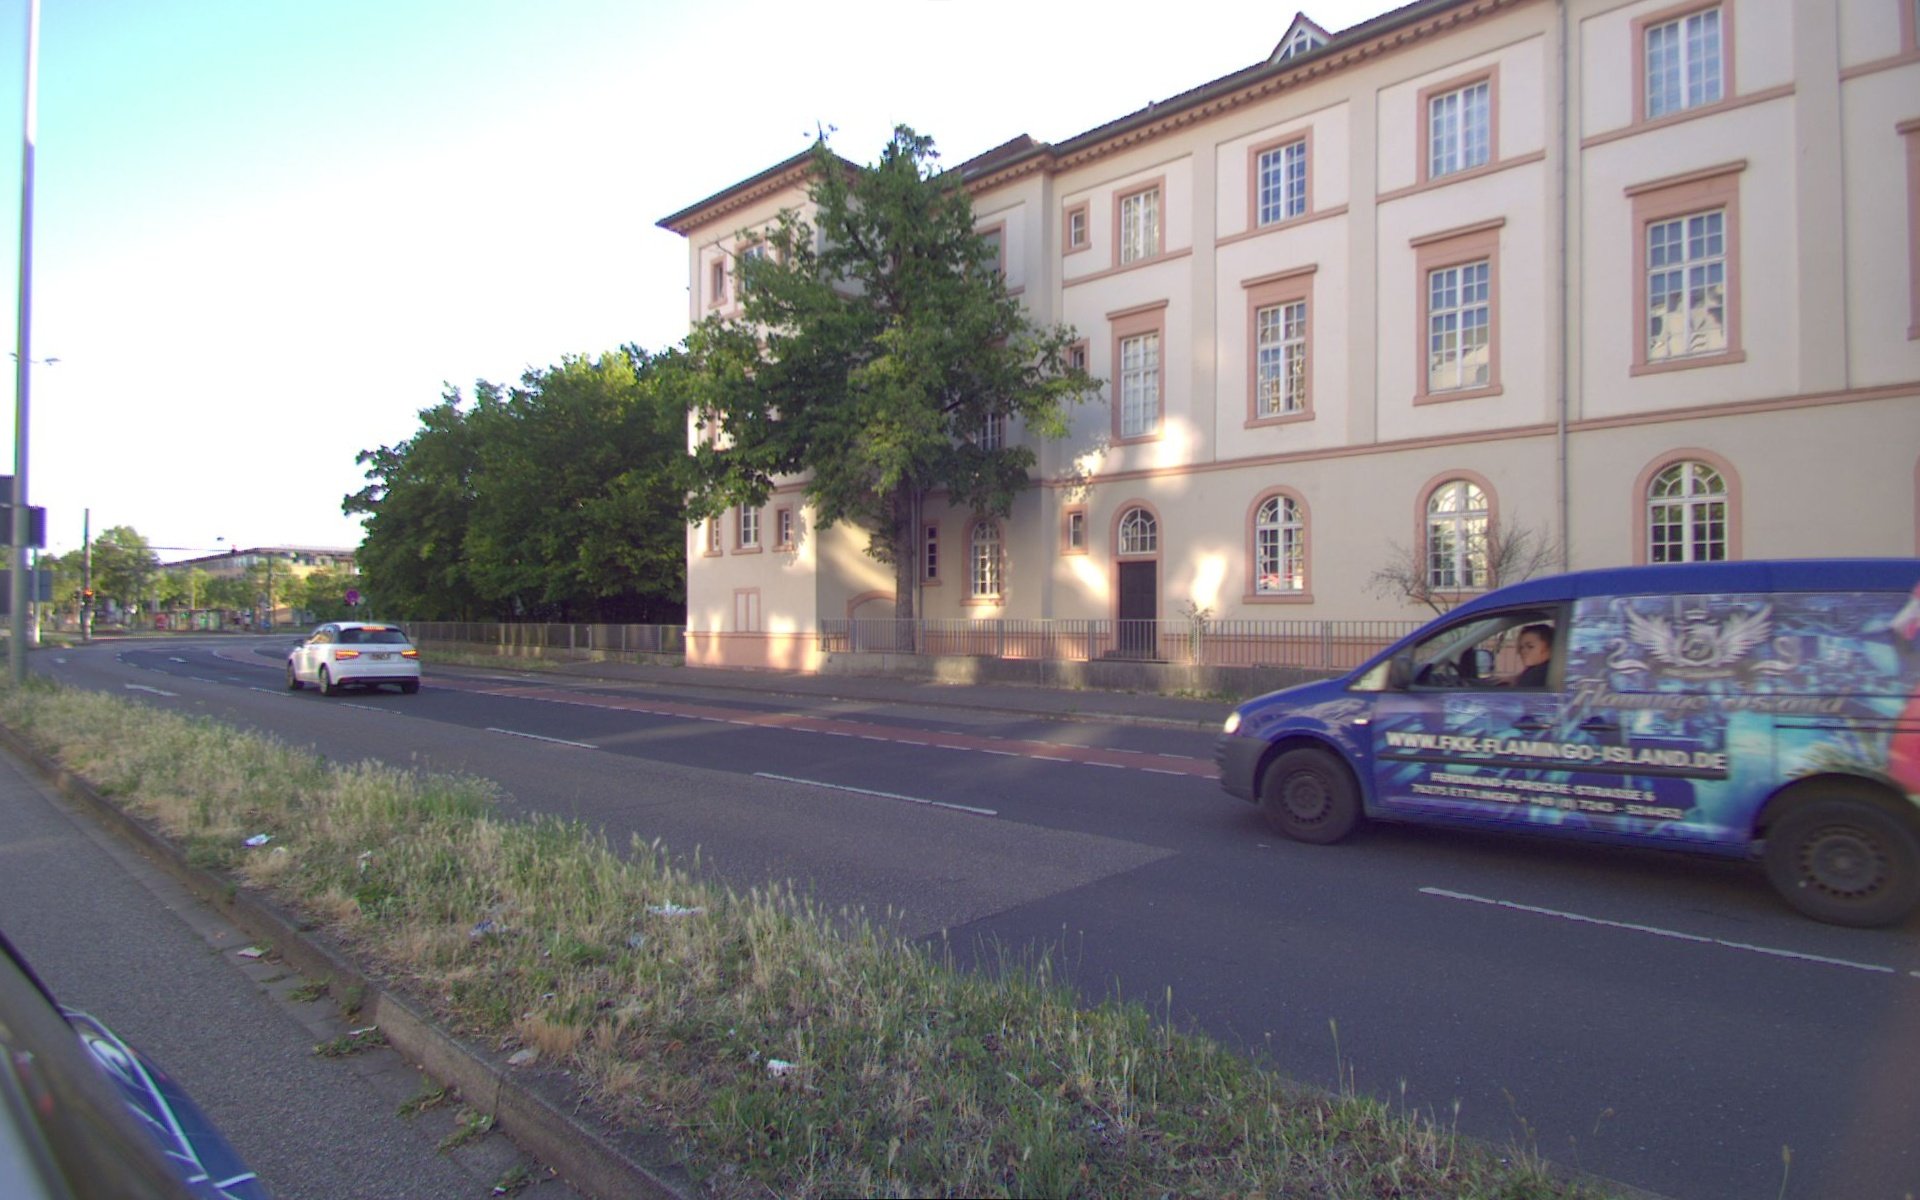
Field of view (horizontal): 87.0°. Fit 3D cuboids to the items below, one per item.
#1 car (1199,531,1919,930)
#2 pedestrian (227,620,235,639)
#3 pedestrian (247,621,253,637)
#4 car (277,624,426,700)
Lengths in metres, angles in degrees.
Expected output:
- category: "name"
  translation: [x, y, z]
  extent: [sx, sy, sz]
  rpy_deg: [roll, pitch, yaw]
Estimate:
- category: "car"
  translation: [3.895, 0.638, 6.379]
  extent: [4.226, 1.831, 1.973]
  rpy_deg: [-1, -2, 40]
- category: "pedestrian"
  translation: [-78.179, 3.153, 108.561]
  extent: [0.664, 2.029, 0.549]
  rpy_deg: [-1, -2, 41]
- category: "pedestrian"
  translation: [-76.668, 3.156, 109.290]
  extent: [0.419, 1.718, 0.461]
  rpy_deg: [-1, -2, 41]
- category: "car"
  translation: [-12.453, 1.204, 20.644]
  extent: [3.687, 1.398, 1.672]
  rpy_deg: [-1, -3, 44]
